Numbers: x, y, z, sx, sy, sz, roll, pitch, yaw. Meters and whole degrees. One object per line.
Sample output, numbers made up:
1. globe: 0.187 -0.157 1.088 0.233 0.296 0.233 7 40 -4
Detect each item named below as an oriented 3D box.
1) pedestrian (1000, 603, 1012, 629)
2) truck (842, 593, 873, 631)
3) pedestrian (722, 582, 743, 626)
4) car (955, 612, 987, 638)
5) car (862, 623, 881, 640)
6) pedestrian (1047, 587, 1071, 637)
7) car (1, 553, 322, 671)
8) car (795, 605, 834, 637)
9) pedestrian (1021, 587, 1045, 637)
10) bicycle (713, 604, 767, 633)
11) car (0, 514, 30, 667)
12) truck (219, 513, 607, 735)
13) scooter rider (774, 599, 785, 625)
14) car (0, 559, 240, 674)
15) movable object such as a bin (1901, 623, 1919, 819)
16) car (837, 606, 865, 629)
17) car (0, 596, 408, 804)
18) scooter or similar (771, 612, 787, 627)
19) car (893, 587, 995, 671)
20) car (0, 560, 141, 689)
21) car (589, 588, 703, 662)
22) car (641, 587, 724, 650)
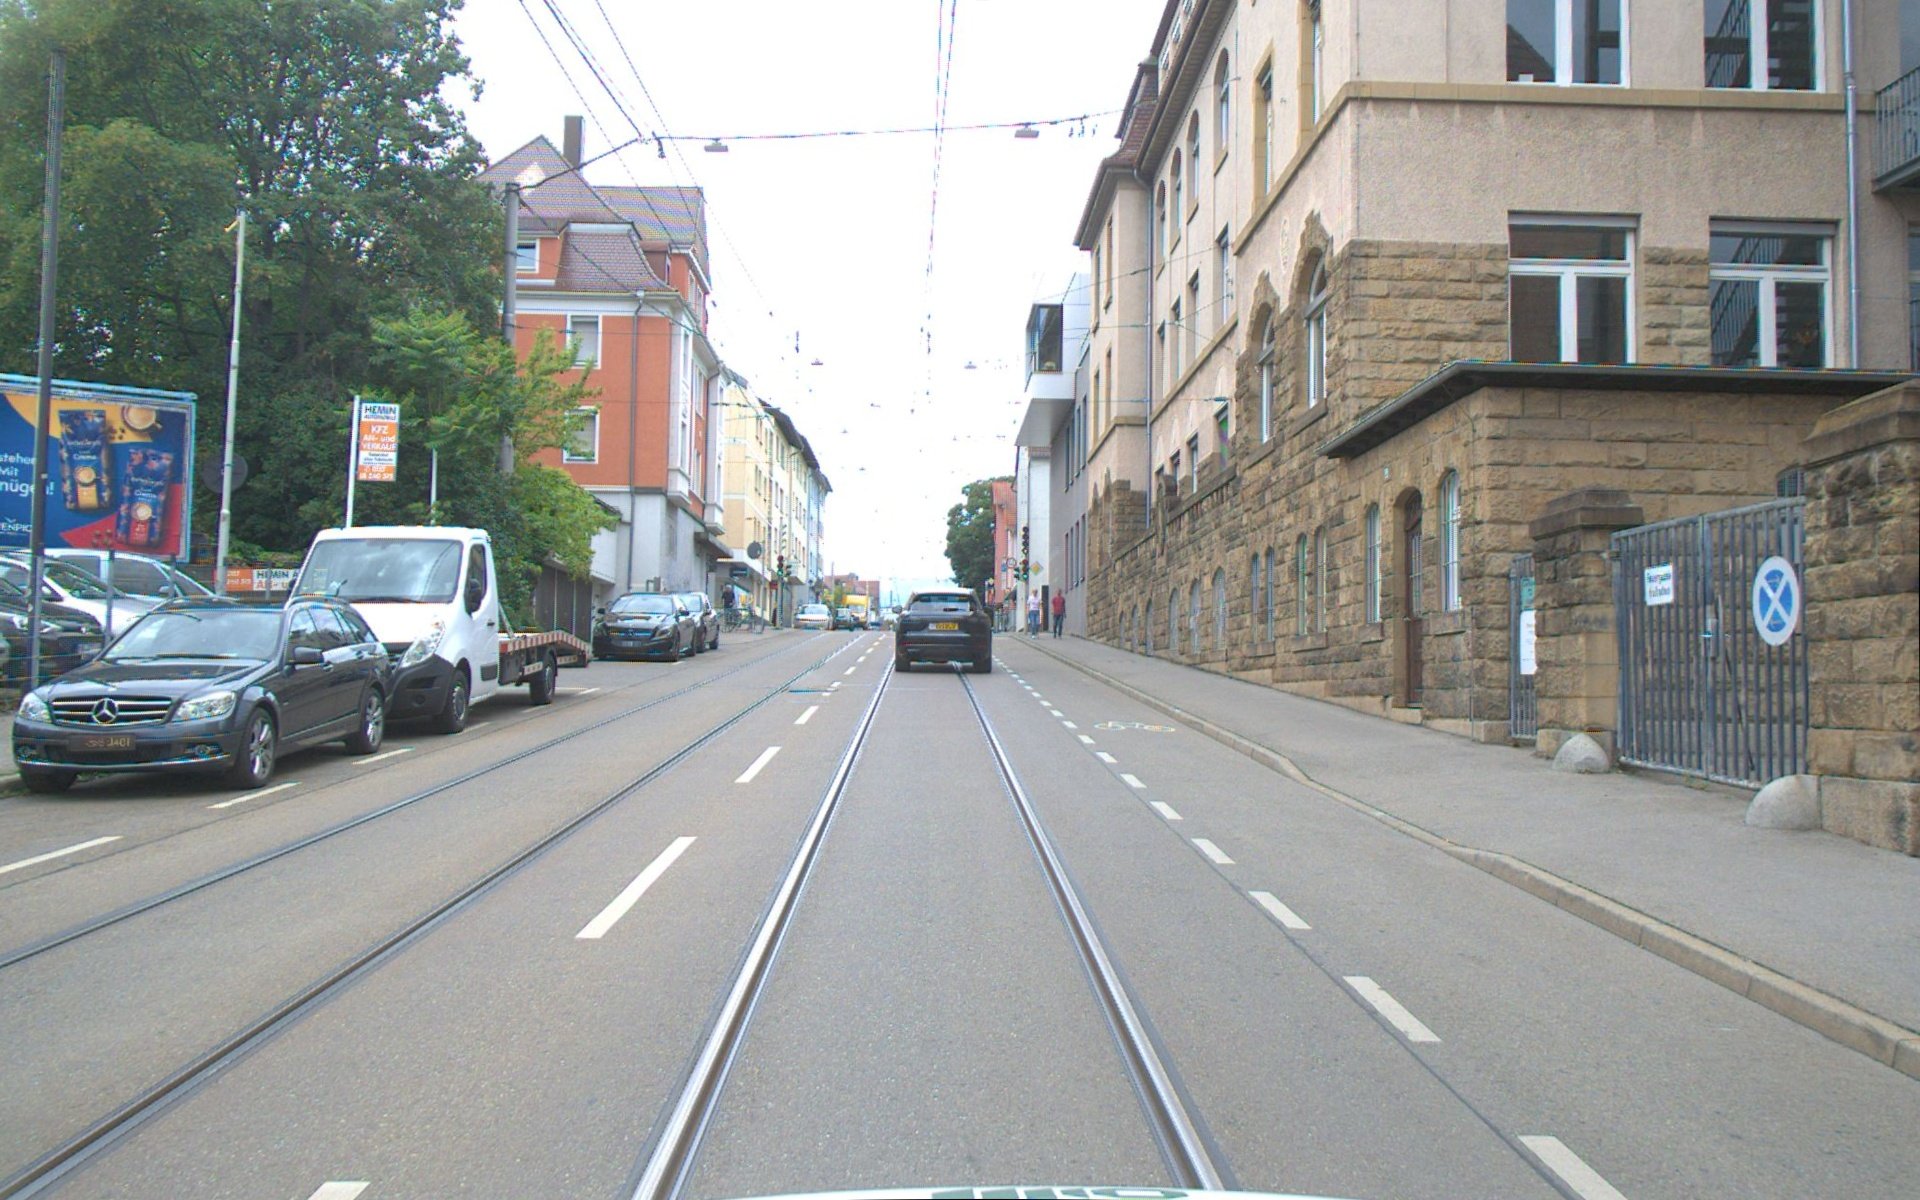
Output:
1. pedestrian: 2.983 1.040 107.892 0.775 1.696 0.799 1 0 1
2. truck: -8.720 1.050 141.782 2.256 3.090 9.030 1 0 -2
3. pedestrian: -9.403 0.157 68.335 0.759 1.807 0.650 1 0 0
4. car: 0.671 1.614 107.303 1.953 1.590 4.289 1 0 -1
5. car: -9.449 3.338 176.580 1.817 1.635 4.296 1 0 -2
6. pedestrian: 3.394 0.395 56.763 0.775 1.696 0.799 1 0 1
7. car: -11.399 0.181 23.893 3.896 1.578 1.681 1 0 -16
8. car: -7.798 1.098 89.032 1.817 1.635 4.296 1 0 -2
9. pedestrian: 2.504 0.412 56.802 0.775 1.696 0.799 1 0 1
10. bicycle: -7.901 0.661 59.355 1.872 1.017 0.479 1 0 -1
11. car: -11.509 -0.131 16.033 3.978 1.520 1.687 1 0 -2
12. truck: -6.415 0.241 20.833 2.234 2.226 8.024 1 0 0
13. scooter rider: -11.328 0.757 103.926 0.635 1.613 0.765 1 0 -6
14. car: -11.512 0.191 21.187 3.798 1.381 1.687 1 0 -2
15. movable object such as a bin: 6.450 0.777 10.425 0.680 1.239 0.605 1 0 -2
16. car: -8.011 1.268 121.618 1.817 1.635 4.296 1 0 -2
17. car: -6.223 0.711 14.150 1.663 1.458 4.479 -1 0 -3
18. scooter or similar: -11.380 1.233 103.905 1.007 0.935 0.472 1 0 -6
19. car: -0.345 0.556 34.117 1.953 1.590 4.289 1 0 -1
20. car: -11.557 0.238 18.604 3.798 1.381 1.687 1 0 -2
21. car: -6.719 0.505 35.782 1.677 1.472 4.289 1 0 -1
22. car: -6.882 0.442 41.303 1.484 1.472 3.709 1 0 -1
